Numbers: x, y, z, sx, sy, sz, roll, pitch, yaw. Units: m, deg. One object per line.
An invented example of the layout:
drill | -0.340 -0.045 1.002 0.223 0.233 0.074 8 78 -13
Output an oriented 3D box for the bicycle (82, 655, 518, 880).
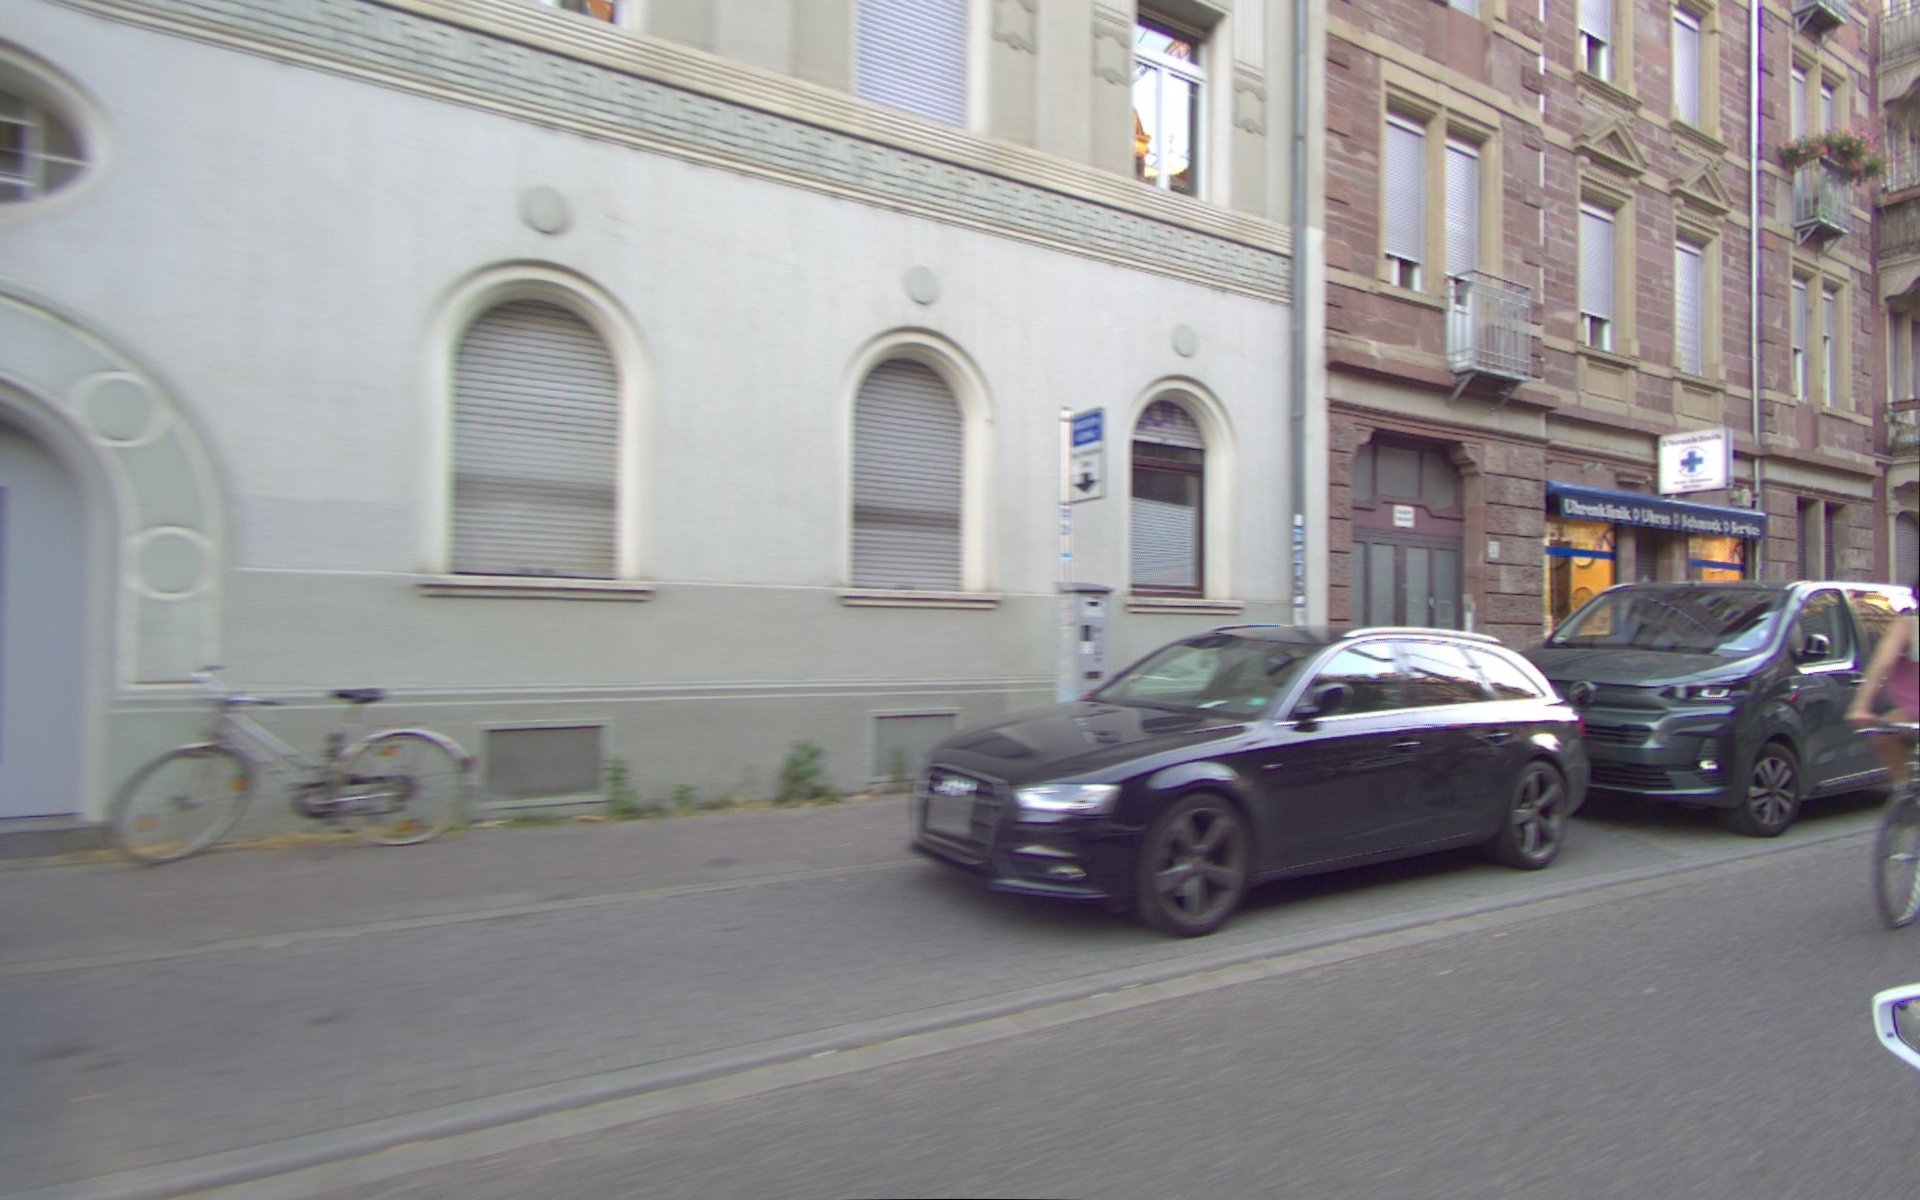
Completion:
bicycle | -3.689 0.885 5.821 2.004 1.110 0.557 2 -1 -29

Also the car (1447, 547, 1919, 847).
car | 6.563 0.692 8.560 4.887 1.951 1.896 2 -1 -29

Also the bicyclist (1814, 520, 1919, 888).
bicyclist | 5.267 0.539 5.391 0.933 1.874 0.796 1 -1 -32

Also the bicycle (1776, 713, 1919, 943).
bicycle | 5.269 1.155 5.386 1.982 0.959 0.796 2 -1 -32

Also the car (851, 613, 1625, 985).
car | 1.789 0.876 6.042 4.480 1.491 1.903 2 -1 -30

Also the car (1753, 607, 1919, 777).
car | 11.070 0.969 11.342 4.017 1.685 1.897 1 -2 -28
